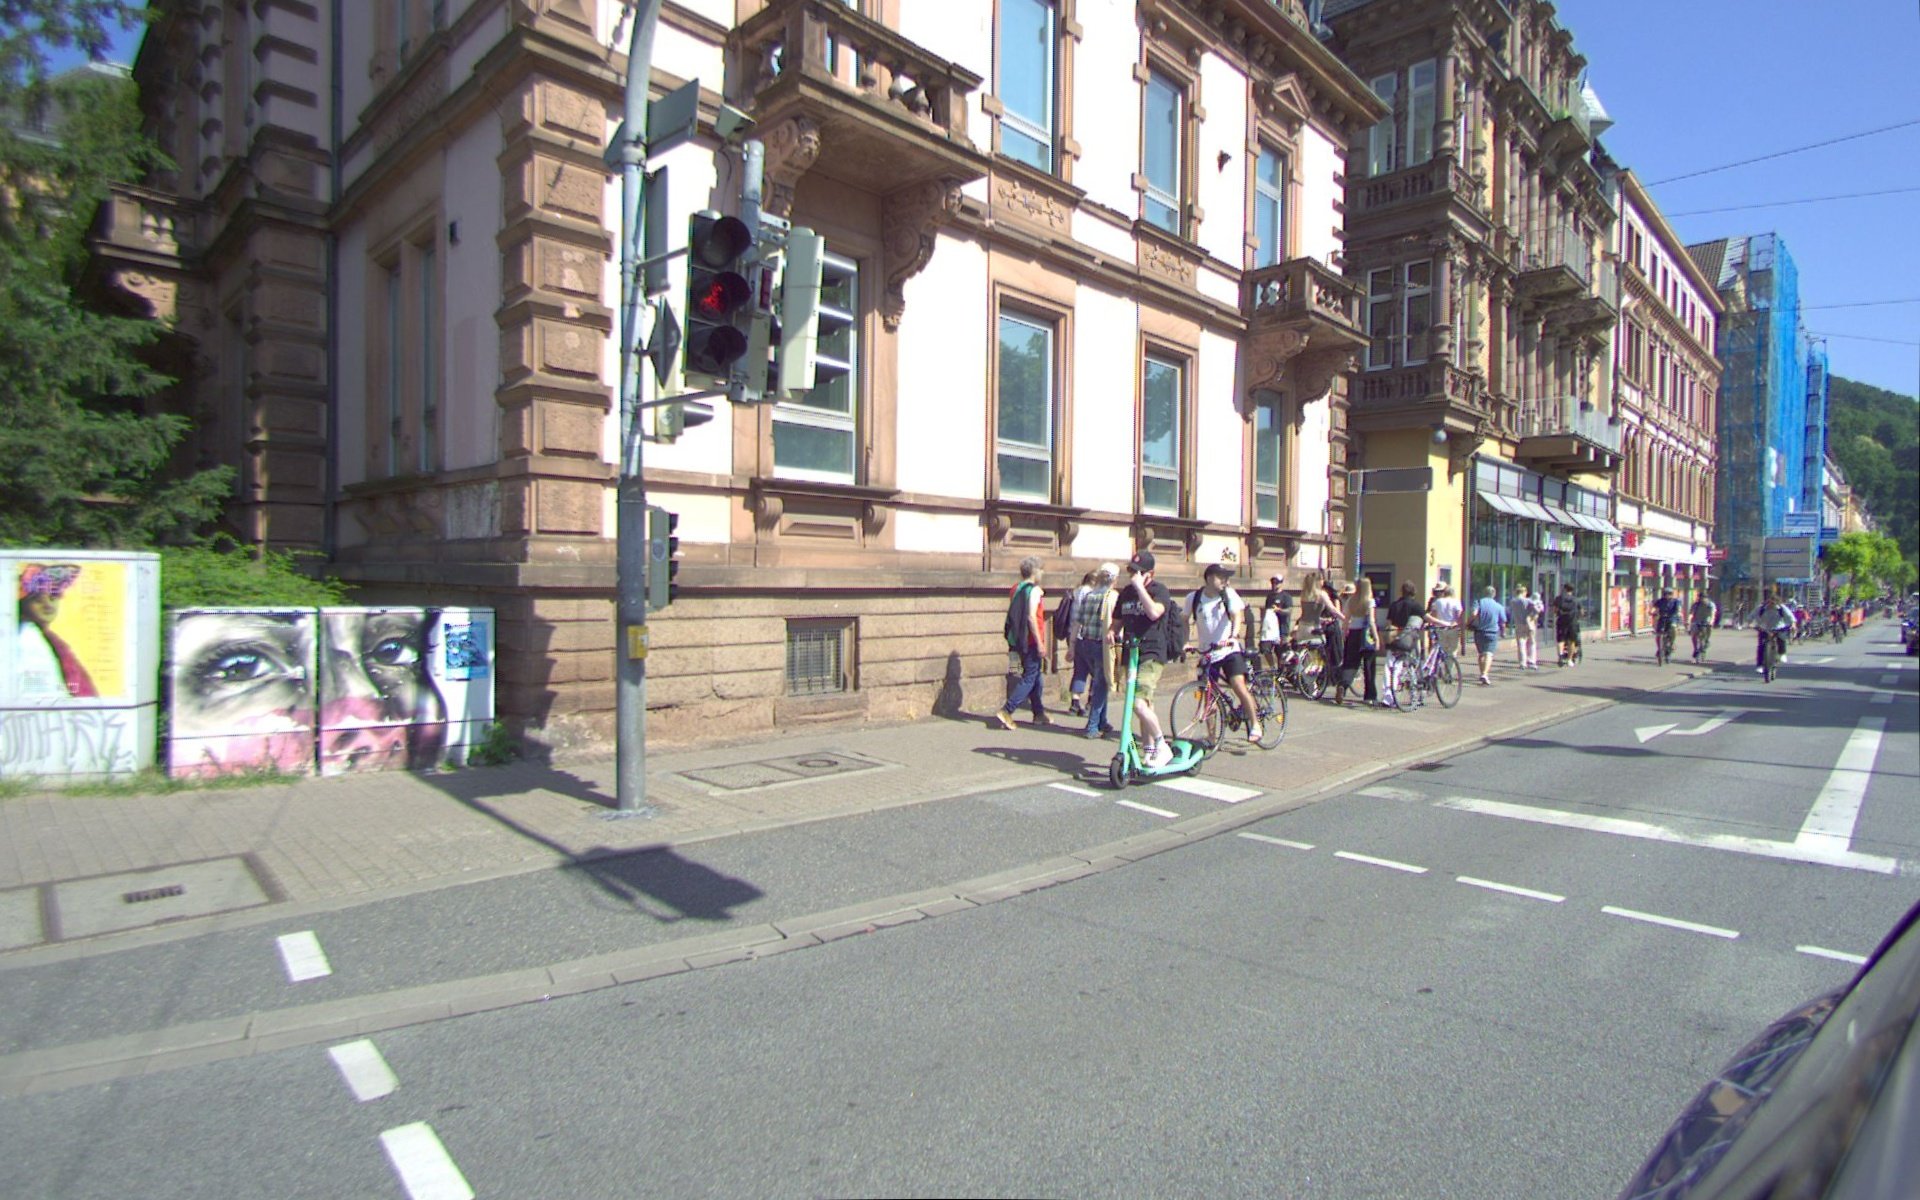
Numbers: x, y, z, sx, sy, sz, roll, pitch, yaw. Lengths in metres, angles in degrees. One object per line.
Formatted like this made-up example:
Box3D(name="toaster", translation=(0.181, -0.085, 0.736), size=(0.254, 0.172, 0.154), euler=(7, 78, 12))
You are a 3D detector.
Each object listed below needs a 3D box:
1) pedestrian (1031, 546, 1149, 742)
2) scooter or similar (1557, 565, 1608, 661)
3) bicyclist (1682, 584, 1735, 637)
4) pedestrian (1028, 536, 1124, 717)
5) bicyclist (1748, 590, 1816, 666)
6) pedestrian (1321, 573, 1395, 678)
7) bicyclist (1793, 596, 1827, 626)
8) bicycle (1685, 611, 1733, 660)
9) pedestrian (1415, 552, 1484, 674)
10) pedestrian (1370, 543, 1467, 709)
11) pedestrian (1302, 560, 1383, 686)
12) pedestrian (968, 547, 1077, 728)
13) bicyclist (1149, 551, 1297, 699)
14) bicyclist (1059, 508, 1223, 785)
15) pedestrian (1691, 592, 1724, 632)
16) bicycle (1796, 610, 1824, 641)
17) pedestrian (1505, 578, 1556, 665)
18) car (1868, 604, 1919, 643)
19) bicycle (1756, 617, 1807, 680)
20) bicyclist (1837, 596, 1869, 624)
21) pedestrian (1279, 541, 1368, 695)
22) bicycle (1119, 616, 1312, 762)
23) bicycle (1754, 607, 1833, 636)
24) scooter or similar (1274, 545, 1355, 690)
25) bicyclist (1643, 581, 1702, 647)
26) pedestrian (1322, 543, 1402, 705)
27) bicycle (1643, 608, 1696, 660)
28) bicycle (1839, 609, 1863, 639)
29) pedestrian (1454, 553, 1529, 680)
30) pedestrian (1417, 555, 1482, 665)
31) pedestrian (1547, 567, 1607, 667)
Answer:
Box3D(name="pedestrian", translation=(1.260, 0.389, 9.791), size=(0.705, 1.791, 0.889), euler=(3, 1, 43))
Box3D(name="scooter or similar", translation=(13.642, 0.274, 22.166), size=(0.692, 2.039, 1.078), euler=(2, 1, 43))
Box3D(name="bicyclist", translation=(18.359, 0.245, 24.820), size=(0.910, 1.250, 1.213), euler=(2, 1, 43))
Box3D(name="pedestrian", translation=(1.292, 0.279, 11.225), size=(0.634, 1.915, 0.889), euler=(1, 0, 43))
Box3D(name="bicyclist", translation=(16.042, 0.527, 19.756), size=(0.910, 1.411, 1.213), euler=(3, 1, 43))
Box3D(name="pedestrian", translation=(6.548, 0.402, 16.648), size=(0.812, 1.622, 0.802), euler=(5, 3, 43))
Box3D(name="bicyclist", translation=(32.375, 0.404, 38.549), size=(0.910, 1.082, 1.213), euler=(3, 2, 43))
Box3D(name="bicycle", translation=(18.455, 0.846, 24.909), size=(0.642, 1.096, 2.457), euler=(3, 2, 43))
Box3D(name="pedestrian", translation=(8.527, 0.211, 17.622), size=(0.812, 2.038, 0.802), euler=(3, 2, 43))
Box3D(name="pedestrian", translation=(5.956, 0.314, 13.147), size=(0.812, 2.038, 0.802), euler=(5, 3, 43))
Box3D(name="pedestrian", translation=(5.851, 0.333, 15.498), size=(0.812, 1.815, 0.802), euler=(5, 3, 43))
Box3D(name="pedestrian", translation=(0.653, 0.347, 10.460), size=(0.705, 1.774, 0.889), euler=(2, 2, 43))
Box3D(name="bicyclist", translation=(2.384, 0.196, 9.164), size=(0.921, 1.234, 0.957), euler=(3, 1, 43))
Box3D(name="bicyclist", translation=(1.442, 0.327, 8.076), size=(0.941, 2.039, 0.817), euler=(3, 1, 43))
Box3D(name="pedestrian", translation=(31.047, 0.482, 42.035), size=(0.910, 1.620, 1.213), euler=(3, 1, 43))
Box3D(name="bicycle", translation=(32.305, 0.954, 38.451), size=(0.642, 1.096, 2.457), euler=(3, 2, 43))
Box3D(name="pedestrian", translation=(11.614, 0.424, 20.598), size=(0.618, 1.715, 0.706), euler=(-1, 2, -43))
Box3D(name="car", translation=(40.128, 0.976, 43.077), size=(3.934, 1.594, 1.995), euler=(1, -1, -44))
Box3D(name="bicycle", translation=(16.056, 0.918, 19.754), size=(0.641, 1.096, 2.458), euler=(3, 2, 42))
Box3D(name="bicyclist", translation=(36.714, 0.405, 41.594), size=(0.910, 1.096, 1.213), euler=(3, 2, 43))
Box3D(name="pedestrian", translation=(5.071, 0.230, 14.119), size=(0.812, 2.038, 0.802), euler=(5, 3, 43))
Box3D(name="bicycle", translation=(2.373, 0.737, 9.199), size=(0.778, 1.116, 2.106), euler=(3, 2, 42))
Box3D(name="bicycle", translation=(35.695, 0.923, 43.373), size=(0.632, 1.096, 2.493), euler=(1, 2, -41))
Box3D(name="scooter or similar", translation=(5.203, 0.240, 14.836), size=(0.692, 2.039, 1.078), euler=(2, 1, 43))
Box3D(name="bicyclist", translation=(16.360, 0.305, 23.233), size=(0.910, 1.454, 1.213), euler=(3, 1, 43))
Box3D(name="pedestrian", translation=(5.301, 0.294, 13.348), size=(0.660, 2.038, 0.688), euler=(5, 3, 43))
Box3D(name="bicycle", translation=(16.260, 0.739, 23.165), size=(0.642, 1.096, 2.457), euler=(3, 2, 43))
Box3D(name="bicycle", translation=(36.690, 0.970, 41.662), size=(0.641, 1.096, 2.458), euler=(2, 2, 43))
Box3D(name="pedestrian", translation=(8.945, 0.263, 17.043), size=(0.812, 2.038, 0.802), euler=(5, 3, 43))
Box3D(name="pedestrian", translation=(9.476, 0.175, 19.585), size=(0.812, 2.038, 0.802), euler=(5, 3, 43))
Box3D(name="pedestrian", translation=(13.082, 0.340, 21.467), size=(0.812, 2.038, 0.802), euler=(5, 3, 43))
